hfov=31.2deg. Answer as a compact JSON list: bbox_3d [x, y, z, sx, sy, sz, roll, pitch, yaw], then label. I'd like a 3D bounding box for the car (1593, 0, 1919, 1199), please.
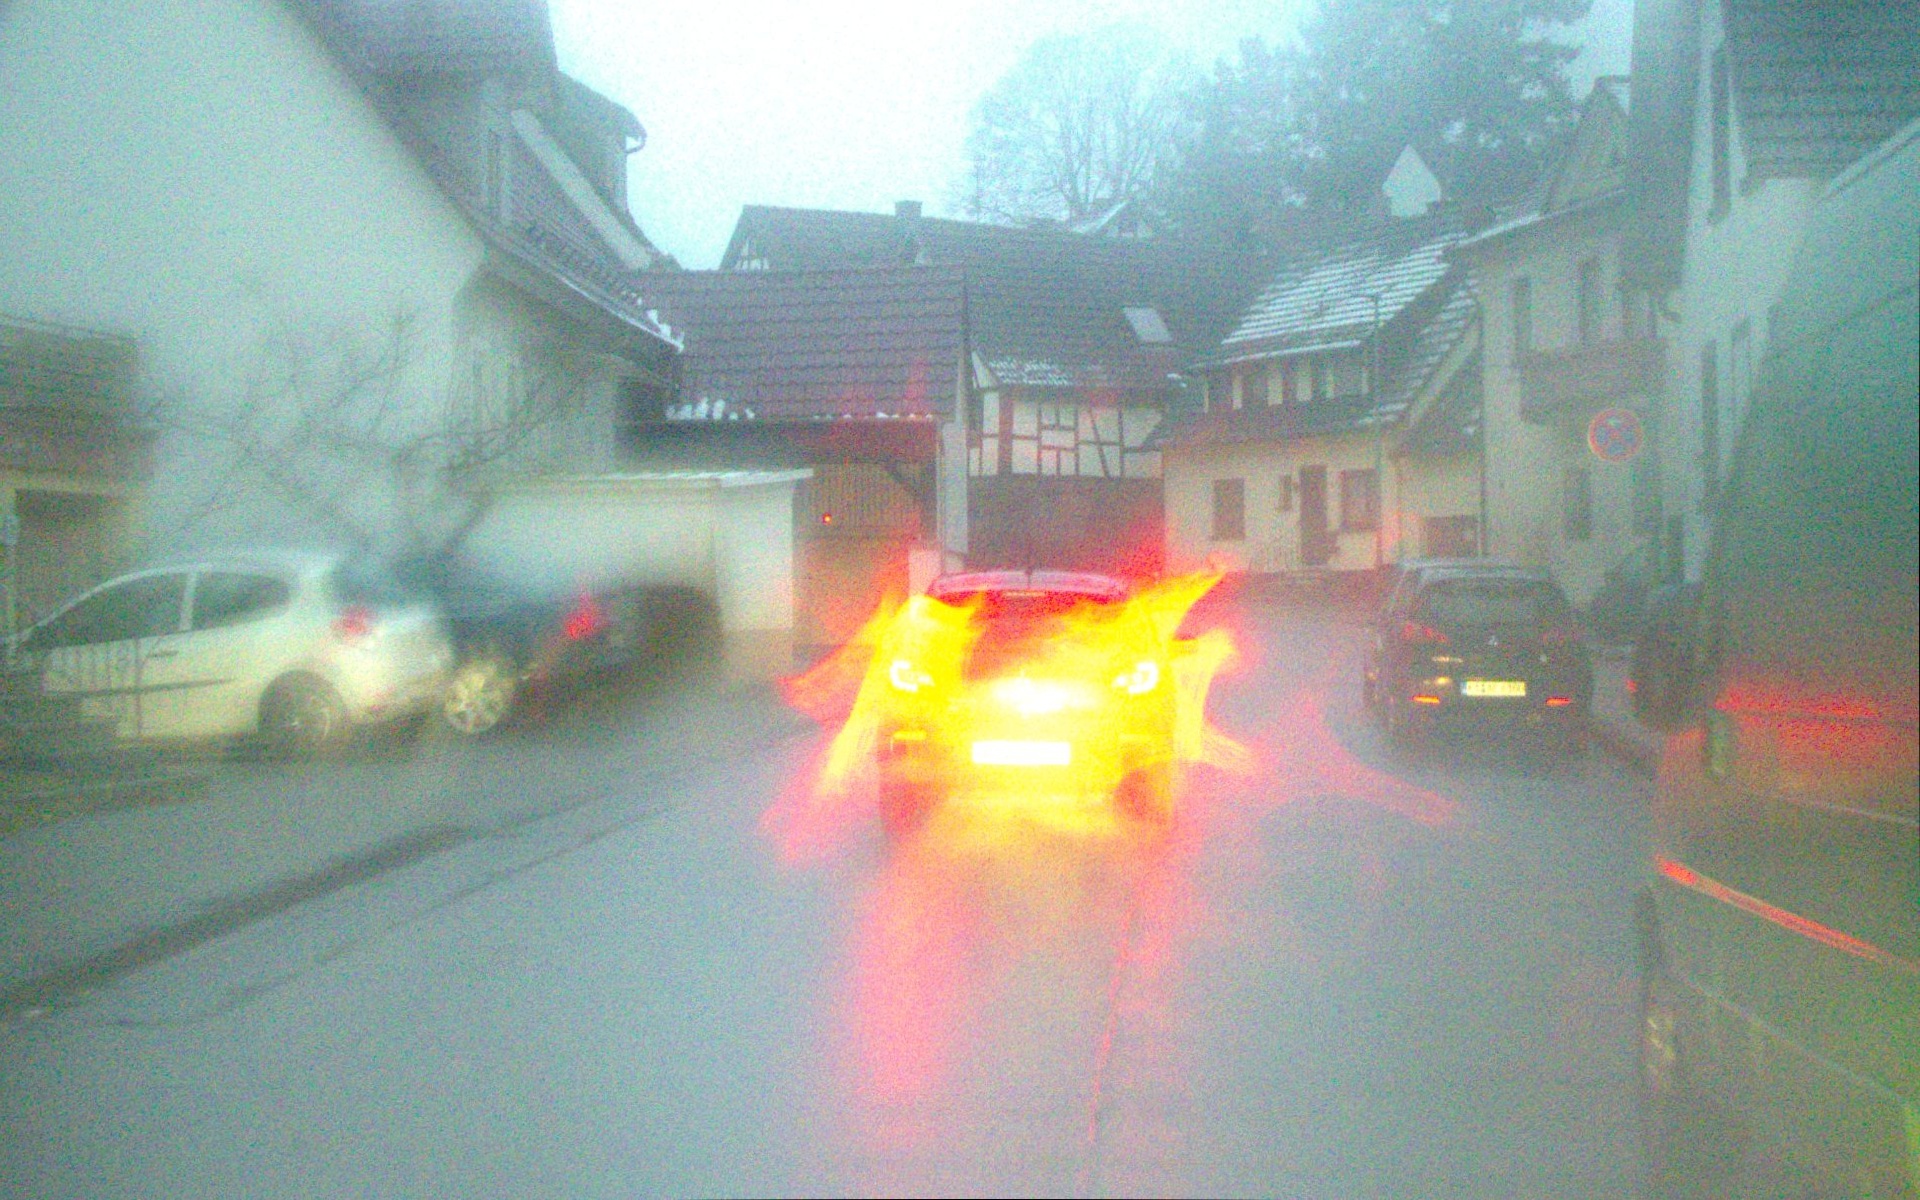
[{"bbox_3d":[2.573,0.240,6.492,2.009,2.445,5.614,1,1,3],"label":"car"}]

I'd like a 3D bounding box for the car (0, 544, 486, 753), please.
[{"bbox_3d":[-6.068,0.355,25.734,4.605,1.465,1.891,-1,1,11],"label":"car"}]

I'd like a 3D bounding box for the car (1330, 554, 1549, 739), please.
[{"bbox_3d":[4.107,0.346,29.909,1.638,1.466,3.999,1,1,5],"label":"car"}]

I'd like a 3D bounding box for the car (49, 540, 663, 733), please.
[{"bbox_3d":[-4.924,0.285,28.406,4.594,1.465,2.000,-1,1,7],"label":"car"}]

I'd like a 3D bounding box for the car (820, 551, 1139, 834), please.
[{"bbox_3d":[0.195,0.460,19.977,1.546,1.461,3.698,1,1,5],"label":"car"}]
